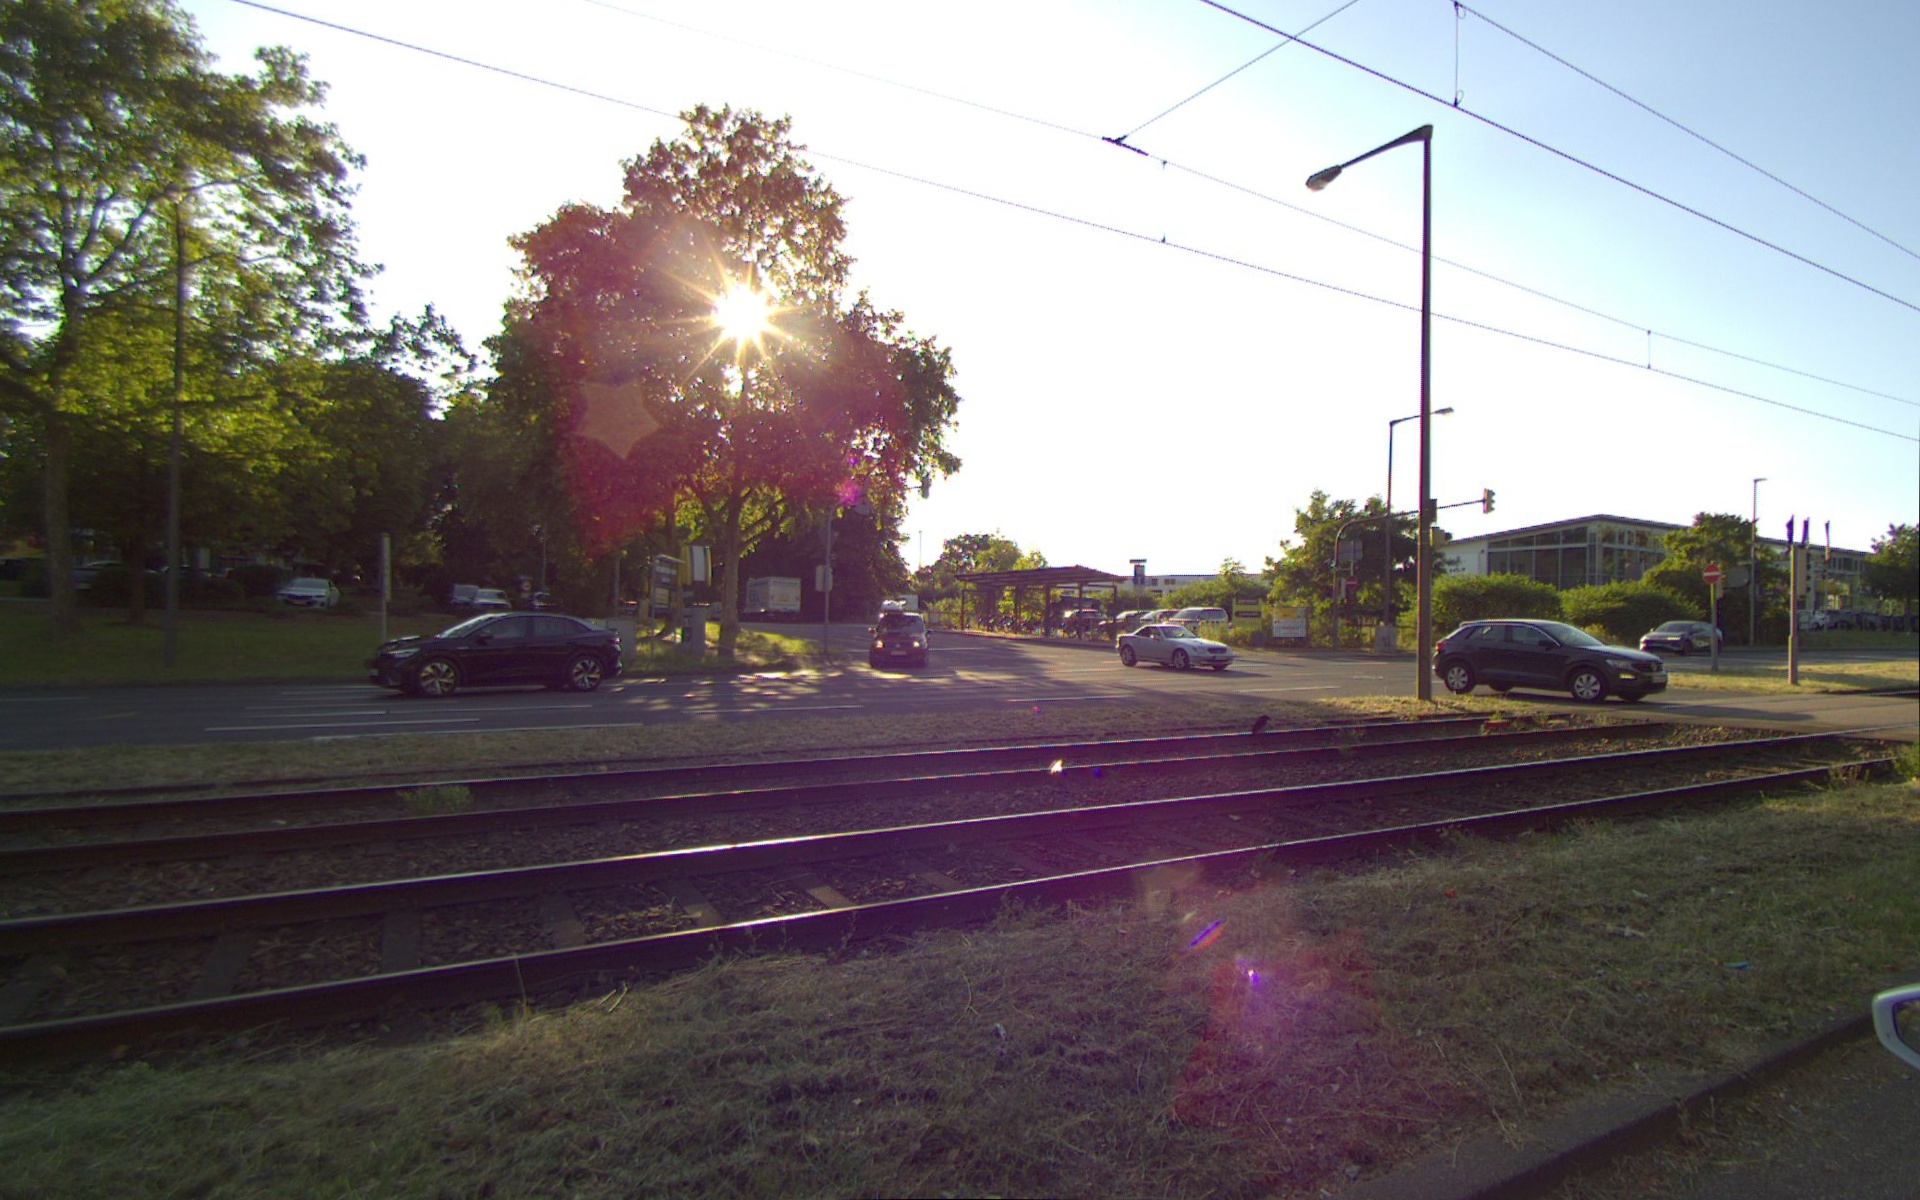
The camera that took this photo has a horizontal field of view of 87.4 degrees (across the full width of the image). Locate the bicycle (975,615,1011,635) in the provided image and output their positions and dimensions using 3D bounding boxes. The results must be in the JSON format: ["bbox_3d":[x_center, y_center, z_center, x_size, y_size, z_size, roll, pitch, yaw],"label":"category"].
[{"bbox_3d":[1.932,1.449,59.050,2.004,1.119,0.777,2,0,-30],"label":"bicycle"}]

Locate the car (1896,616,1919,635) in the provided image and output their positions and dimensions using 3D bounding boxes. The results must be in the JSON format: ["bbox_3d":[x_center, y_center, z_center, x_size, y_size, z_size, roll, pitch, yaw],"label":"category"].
[{"bbox_3d":[88.389,2.382,91.739,1.725,1.642,3.962,1,0,-34],"label":"car"}]

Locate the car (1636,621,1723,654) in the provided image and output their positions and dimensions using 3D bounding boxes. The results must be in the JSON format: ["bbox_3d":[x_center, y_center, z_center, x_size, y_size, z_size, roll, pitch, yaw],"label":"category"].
[{"bbox_3d":[35.285,1.825,49.258,4.120,1.501,1.854,1,0,-29],"label":"car"}]

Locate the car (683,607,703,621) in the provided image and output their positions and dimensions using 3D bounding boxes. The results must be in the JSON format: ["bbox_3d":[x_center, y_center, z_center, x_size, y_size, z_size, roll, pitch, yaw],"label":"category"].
[{"bbox_3d":[-33.320,1.747,125.391,1.887,1.602,4.036,2,0,-21],"label":"car"}]

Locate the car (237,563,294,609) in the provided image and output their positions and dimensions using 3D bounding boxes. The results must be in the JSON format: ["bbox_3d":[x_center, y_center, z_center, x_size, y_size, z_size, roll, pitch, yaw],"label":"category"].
[{"bbox_3d":[-37.293,-0.749,54.011,2.138,2.334,4.370,2,0,-31],"label":"car"}]

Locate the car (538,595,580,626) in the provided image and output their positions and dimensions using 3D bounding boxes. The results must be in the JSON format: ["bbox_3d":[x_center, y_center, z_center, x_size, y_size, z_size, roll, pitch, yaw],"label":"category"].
[{"bbox_3d":[-20.436,0.523,51.141,1.604,1.477,3.878,2,0,-27],"label":"car"}]

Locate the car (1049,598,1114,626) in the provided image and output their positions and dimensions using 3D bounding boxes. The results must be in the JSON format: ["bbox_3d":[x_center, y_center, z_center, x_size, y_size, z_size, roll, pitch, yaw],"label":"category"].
[{"bbox_3d":[9.293,0.932,76.666,4.715,2.041,1.853,1,0,-30],"label":"car"}]

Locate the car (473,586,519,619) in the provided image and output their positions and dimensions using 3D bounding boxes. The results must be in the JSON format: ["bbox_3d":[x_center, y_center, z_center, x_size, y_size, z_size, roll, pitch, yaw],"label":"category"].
[{"bbox_3d":[-22.931,0.111,49.591,1.916,1.530,4.071,2,0,-26],"label":"car"}]

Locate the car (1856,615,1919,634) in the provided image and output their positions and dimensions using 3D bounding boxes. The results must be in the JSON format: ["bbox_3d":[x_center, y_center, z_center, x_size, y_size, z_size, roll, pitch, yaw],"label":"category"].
[{"bbox_3d":[81.772,2.149,88.507,1.728,1.576,3.957,1,0,-37],"label":"car"}]

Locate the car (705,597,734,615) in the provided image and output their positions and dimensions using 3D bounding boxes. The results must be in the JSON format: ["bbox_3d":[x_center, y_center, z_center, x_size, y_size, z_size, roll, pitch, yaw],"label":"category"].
[{"bbox_3d":[-22.765,0.558,94.950,1.711,1.603,4.028,1,0,-27],"label":"car"}]

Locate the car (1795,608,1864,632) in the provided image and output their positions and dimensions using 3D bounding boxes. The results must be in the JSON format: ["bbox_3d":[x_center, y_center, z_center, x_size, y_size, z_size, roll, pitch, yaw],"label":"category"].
[{"bbox_3d":[66.731,1.489,77.168,3.940,1.727,1.735,1,0,40],"label":"car"}]

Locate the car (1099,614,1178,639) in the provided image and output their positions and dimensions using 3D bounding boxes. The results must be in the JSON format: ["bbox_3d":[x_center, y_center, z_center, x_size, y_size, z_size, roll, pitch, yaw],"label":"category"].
[{"bbox_3d":[9.943,1.484,55.869,4.123,1.284,1.853,1,0,-30],"label":"car"}]

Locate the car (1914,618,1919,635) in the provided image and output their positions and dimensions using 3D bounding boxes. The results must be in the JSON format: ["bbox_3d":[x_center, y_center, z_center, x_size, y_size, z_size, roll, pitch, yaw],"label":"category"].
[{"bbox_3d":[91.304,2.499,93.018,1.725,1.642,3.962,1,0,-34],"label":"car"}]

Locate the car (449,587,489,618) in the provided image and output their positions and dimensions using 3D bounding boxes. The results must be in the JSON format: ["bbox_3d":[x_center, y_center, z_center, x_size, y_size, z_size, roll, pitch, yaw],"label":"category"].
[{"bbox_3d":[-28.568,0.127,58.498,1.836,1.637,4.036,2,0,-23],"label":"car"}]

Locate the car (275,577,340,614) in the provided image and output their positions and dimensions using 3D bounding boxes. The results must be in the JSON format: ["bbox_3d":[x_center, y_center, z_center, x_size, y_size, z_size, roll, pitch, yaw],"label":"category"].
[{"bbox_3d":[-29.429,-0.218,45.442,1.916,1.530,4.071,2,0,-26],"label":"car"}]

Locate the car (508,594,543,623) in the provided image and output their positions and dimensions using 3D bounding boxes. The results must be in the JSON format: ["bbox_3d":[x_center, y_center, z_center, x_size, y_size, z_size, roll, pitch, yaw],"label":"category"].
[{"bbox_3d":[-26.214,0.504,60.687,1.836,1.637,4.036,2,0,-23],"label":"car"}]

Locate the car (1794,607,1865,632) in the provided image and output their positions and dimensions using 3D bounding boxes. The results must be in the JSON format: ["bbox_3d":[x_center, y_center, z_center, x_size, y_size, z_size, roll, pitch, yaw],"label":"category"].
[{"bbox_3d":[65.185,1.439,75.369,3.940,1.727,1.735,1,0,40],"label":"car"}]

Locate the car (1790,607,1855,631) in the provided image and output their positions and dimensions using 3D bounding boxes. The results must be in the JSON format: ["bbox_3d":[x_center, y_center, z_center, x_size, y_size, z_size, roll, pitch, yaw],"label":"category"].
[{"bbox_3d":[69.331,1.505,80.826,3.940,1.840,1.735,1,0,40],"label":"car"}]

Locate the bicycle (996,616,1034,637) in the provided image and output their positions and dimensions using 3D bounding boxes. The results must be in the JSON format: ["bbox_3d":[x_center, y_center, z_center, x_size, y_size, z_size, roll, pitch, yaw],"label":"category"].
[{"bbox_3d":[3.073,1.472,56.414,2.004,1.119,0.777,2,0,-30],"label":"bicycle"}]

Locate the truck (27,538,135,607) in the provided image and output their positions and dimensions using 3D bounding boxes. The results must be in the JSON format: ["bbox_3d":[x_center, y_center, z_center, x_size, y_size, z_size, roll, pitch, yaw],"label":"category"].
[{"bbox_3d":[-44.509,-1.339,51.069,2.468,3.209,6.187,2,0,-26],"label":"truck"}]

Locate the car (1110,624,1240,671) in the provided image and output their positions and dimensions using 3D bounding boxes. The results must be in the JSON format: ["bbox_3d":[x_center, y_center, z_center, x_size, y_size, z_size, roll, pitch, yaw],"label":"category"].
[{"bbox_3d":[6.410,1.396,30.272,1.596,1.311,3.950,1,-2,-31],"label":"car"}]

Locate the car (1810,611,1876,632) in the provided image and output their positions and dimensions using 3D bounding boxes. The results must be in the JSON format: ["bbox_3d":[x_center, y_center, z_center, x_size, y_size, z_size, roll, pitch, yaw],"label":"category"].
[{"bbox_3d":[71.995,1.744,81.941,3.940,1.577,1.735,1,0,40],"label":"car"}]

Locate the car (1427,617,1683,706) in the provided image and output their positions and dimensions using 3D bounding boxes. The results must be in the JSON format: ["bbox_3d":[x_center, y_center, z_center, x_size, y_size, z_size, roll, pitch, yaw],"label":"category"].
[{"bbox_3d":[11.752,1.133,20.117,1.693,1.581,4.131,1,-1,-31],"label":"car"}]

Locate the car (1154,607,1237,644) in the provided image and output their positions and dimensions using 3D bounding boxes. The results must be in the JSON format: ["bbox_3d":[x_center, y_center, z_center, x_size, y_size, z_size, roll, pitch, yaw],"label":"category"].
[{"bbox_3d":[12.366,1.323,52.737,4.123,1.846,1.853,1,0,-30],"label":"car"}]

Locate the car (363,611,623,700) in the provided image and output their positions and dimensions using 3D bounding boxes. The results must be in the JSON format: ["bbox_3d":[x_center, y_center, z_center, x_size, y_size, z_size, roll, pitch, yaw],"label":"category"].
[{"bbox_3d":[-9.032,1.037,19.697,1.714,1.565,4.307,-1,-2,45],"label":"car"}]

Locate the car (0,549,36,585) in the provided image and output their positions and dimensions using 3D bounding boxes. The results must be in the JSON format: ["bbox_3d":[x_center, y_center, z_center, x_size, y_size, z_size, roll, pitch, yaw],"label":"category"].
[{"bbox_3d":[-53.855,-1.880,56.386,2.274,1.875,5.220,2,0,-36],"label":"car"}]

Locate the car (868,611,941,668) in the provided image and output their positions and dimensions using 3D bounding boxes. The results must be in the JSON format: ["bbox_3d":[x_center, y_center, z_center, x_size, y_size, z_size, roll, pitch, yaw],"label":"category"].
[{"bbox_3d":[-1.707,1.207,32.273,1.806,1.656,4.313,1,0,3],"label":"car"}]

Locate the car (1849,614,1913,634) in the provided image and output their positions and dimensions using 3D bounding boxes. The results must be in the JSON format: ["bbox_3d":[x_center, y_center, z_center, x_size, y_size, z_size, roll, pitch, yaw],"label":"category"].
[{"bbox_3d":[79.620,2.061,86.889,3.940,1.577,1.735,1,0,40],"label":"car"}]

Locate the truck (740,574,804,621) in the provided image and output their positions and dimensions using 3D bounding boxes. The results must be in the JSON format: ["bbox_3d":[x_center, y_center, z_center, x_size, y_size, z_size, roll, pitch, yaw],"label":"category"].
[{"bbox_3d":[-15.042,-0.228,79.792,2.782,3.520,8.291,1,0,-27],"label":"truck"}]

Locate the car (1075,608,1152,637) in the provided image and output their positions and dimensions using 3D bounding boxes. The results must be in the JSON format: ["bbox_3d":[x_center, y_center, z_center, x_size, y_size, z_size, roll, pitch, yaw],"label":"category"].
[{"bbox_3d":[8.825,1.281,57.800,4.123,1.604,1.853,1,0,-30],"label":"car"}]

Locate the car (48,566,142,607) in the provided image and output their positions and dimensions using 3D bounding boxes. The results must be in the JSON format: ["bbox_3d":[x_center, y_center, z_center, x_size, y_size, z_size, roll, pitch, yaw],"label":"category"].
[{"bbox_3d":[-36.084,-0.554,42.024,1.916,1.530,4.071,2,0,-26],"label":"car"}]

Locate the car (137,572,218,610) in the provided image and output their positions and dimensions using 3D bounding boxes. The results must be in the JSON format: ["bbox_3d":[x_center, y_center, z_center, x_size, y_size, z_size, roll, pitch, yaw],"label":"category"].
[{"bbox_3d":[-33.952,-0.392,43.687,1.916,1.530,4.071,2,0,-26],"label":"car"}]

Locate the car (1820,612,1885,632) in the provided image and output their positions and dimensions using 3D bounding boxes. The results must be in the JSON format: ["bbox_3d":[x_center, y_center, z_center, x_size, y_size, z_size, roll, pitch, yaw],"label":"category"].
[{"bbox_3d":[74.215,1.839,83.609,3.940,1.577,1.735,1,0,40],"label":"car"}]

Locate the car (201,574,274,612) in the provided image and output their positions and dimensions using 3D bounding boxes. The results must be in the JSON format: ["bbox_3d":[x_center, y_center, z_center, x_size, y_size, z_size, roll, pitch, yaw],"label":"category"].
[{"bbox_3d":[-32.110,-0.319,44.760,1.916,1.530,4.071,2,0,-26],"label":"car"}]

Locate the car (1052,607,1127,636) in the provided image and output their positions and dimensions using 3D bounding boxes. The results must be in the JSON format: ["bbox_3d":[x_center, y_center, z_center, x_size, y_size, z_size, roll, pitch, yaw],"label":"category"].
[{"bbox_3d":[7.721,1.288,59.995,4.123,1.604,1.968,1,0,-30],"label":"car"}]

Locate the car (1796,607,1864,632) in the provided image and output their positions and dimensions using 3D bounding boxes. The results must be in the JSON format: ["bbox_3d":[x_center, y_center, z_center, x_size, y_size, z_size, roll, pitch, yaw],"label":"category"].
[{"bbox_3d":[68.369,1.487,78.980,3.940,1.840,1.735,1,0,40],"label":"car"}]
